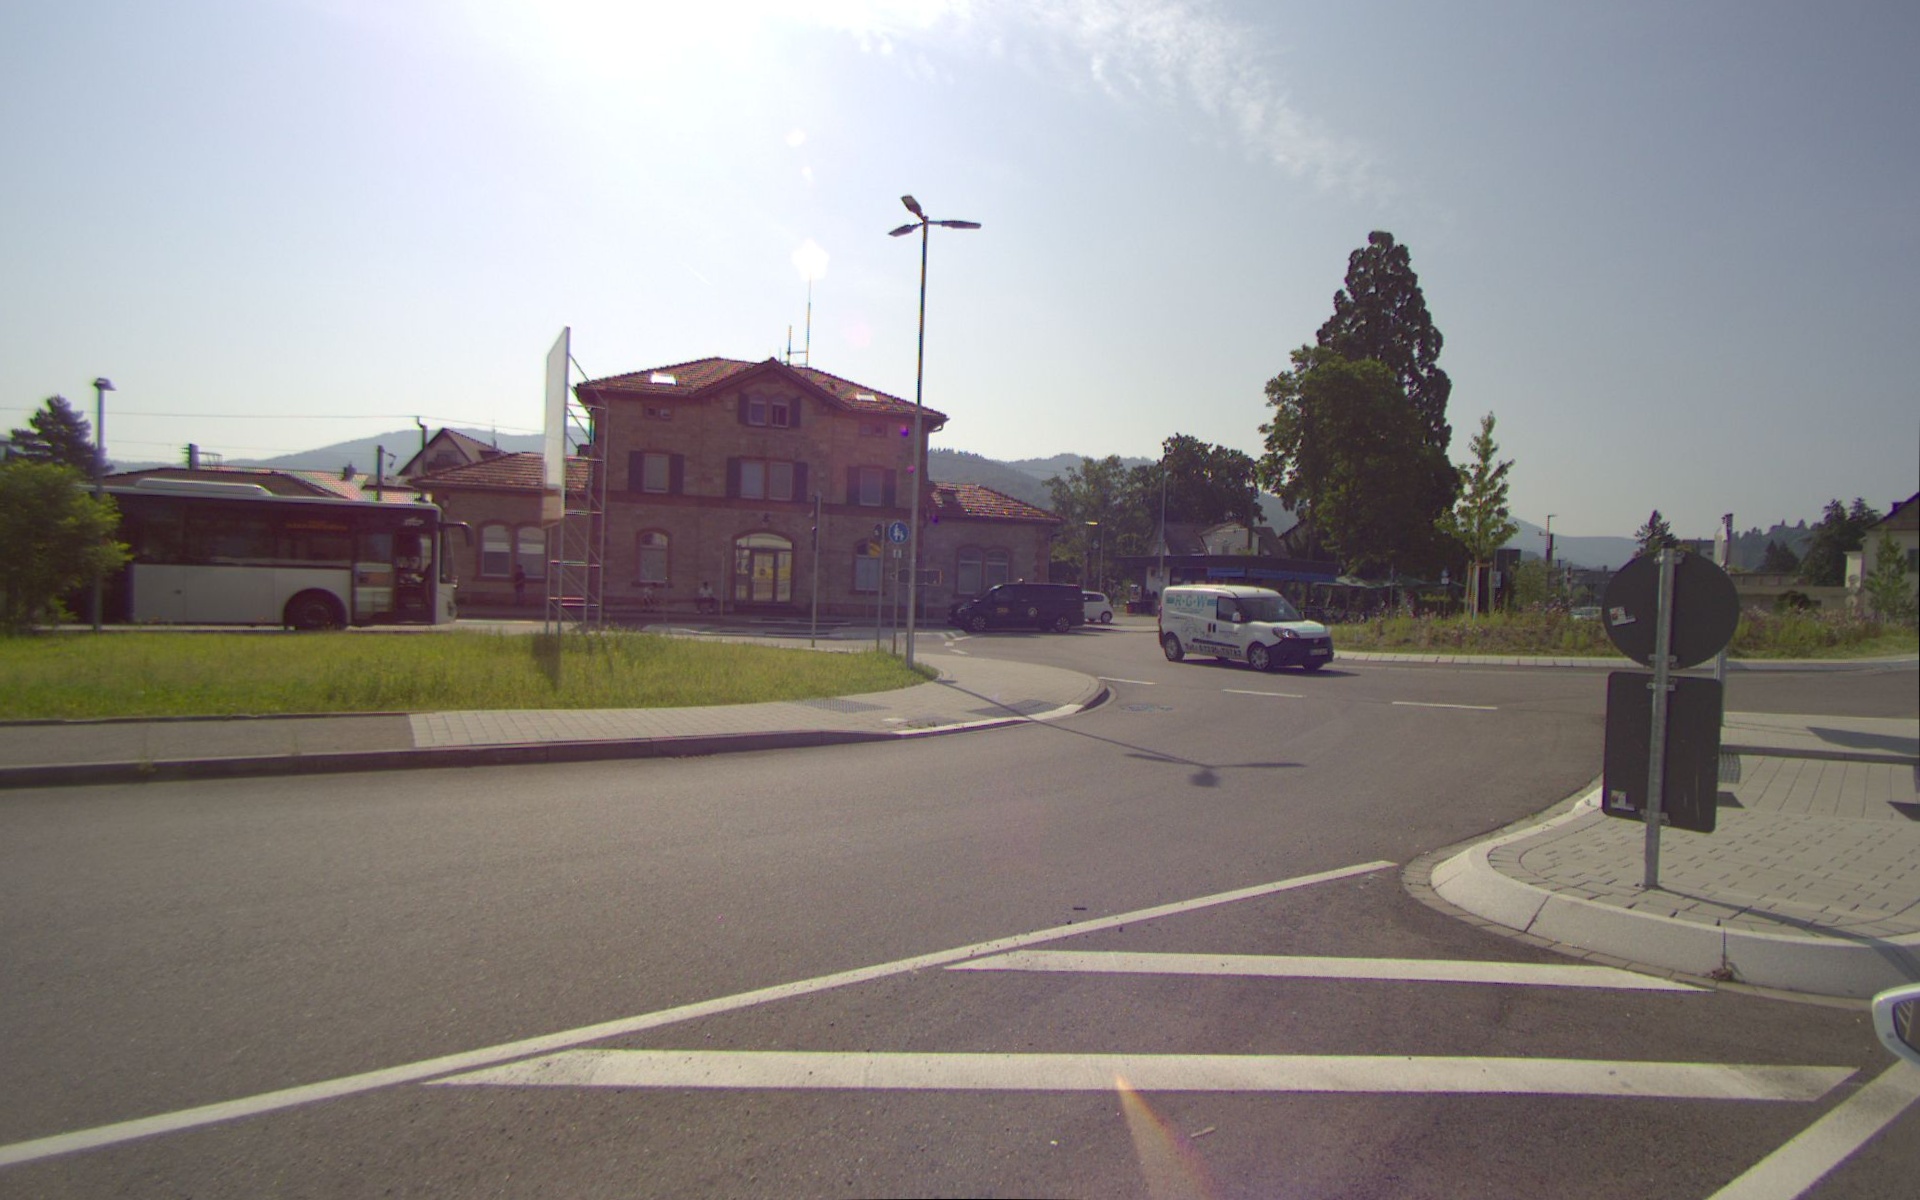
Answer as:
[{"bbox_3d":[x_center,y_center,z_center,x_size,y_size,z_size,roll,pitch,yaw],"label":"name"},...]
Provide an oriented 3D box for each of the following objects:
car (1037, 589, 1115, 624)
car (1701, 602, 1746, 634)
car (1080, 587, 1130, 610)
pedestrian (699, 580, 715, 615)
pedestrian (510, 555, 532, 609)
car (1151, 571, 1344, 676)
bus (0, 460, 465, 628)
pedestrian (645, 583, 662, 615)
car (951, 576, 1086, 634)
[{"bbox_3d":[5.645,0.311,48.867,3.485,1.469,1.386,4,0,-21],"label":"car"},{"bbox_3d":[51.284,1.177,67.429,3.972,2.040,1.792,1,1,-43],"label":"car"},{"bbox_3d":[9.017,-0.116,62.844,1.397,1.344,3.573,2,1,-24],"label":"car"},{"bbox_3d":[-9.994,-0.088,39.730,0.543,1.367,0.564,2,0,-16],"label":"pedestrian"},{"bbox_3d":[-16.964,-0.686,38.841,0.566,2.040,0.530,2,0,-1],"label":"pedestrian"},{"bbox_3d":[6.521,0.417,23.372,1.787,2.106,4.575,-1,3,-25],"label":"car"},{"bbox_3d":[-17.150,-1.095,21.661,11.570,3.165,3.053,1,1,-27],"label":"bus"},{"bbox_3d":[-12.012,-0.044,39.408,0.575,1.220,0.441,2,0,-20],"label":"pedestrian"},{"bbox_3d":[2.232,0.213,38.431,4.806,1.971,1.838,2,0,-19],"label":"car"}]
